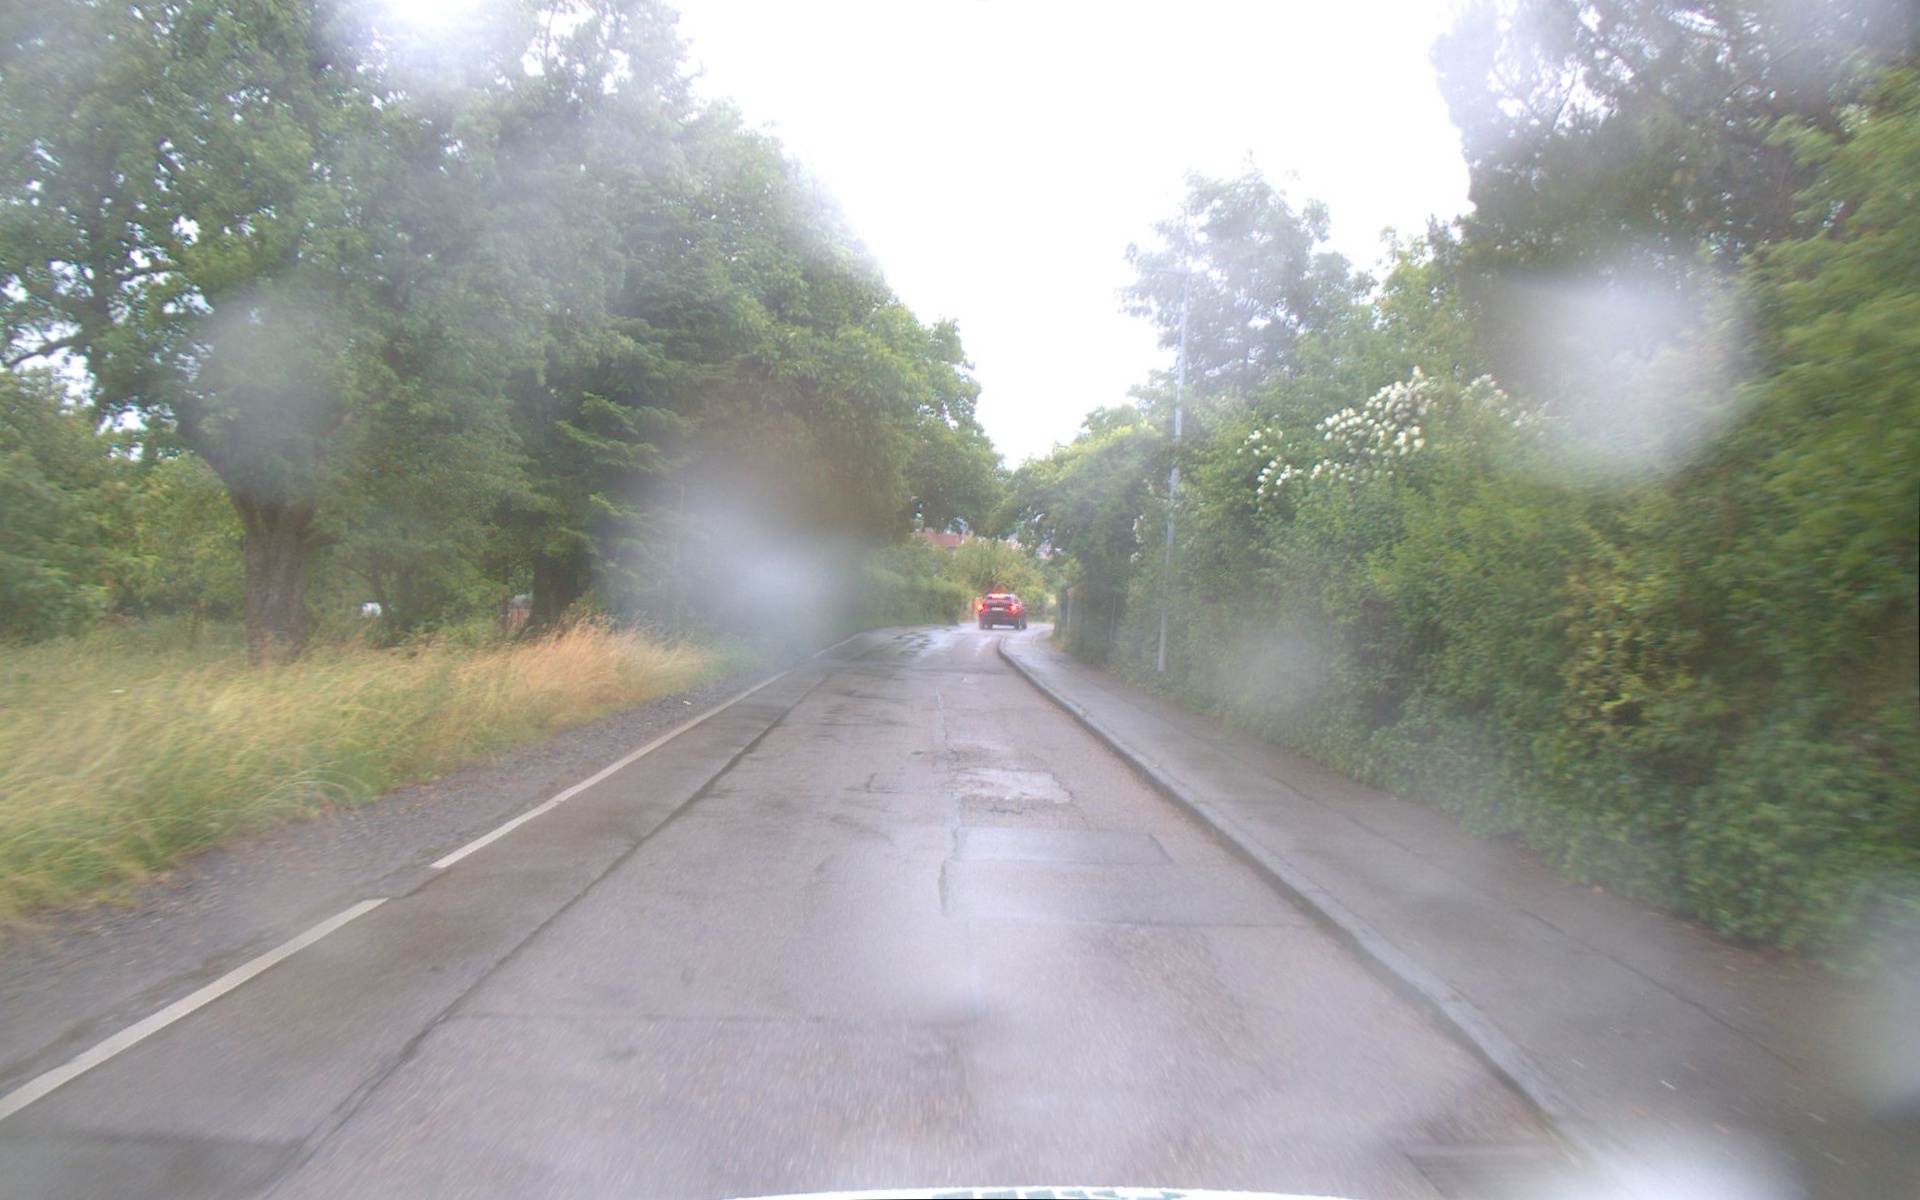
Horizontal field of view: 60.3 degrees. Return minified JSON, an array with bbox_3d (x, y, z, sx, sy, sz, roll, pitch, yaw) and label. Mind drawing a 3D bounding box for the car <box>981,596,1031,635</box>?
[{"bbox_3d":[1.968,0.681,70.489,1.600,1.475,3.547,3,-2,9],"label":"car"}]
